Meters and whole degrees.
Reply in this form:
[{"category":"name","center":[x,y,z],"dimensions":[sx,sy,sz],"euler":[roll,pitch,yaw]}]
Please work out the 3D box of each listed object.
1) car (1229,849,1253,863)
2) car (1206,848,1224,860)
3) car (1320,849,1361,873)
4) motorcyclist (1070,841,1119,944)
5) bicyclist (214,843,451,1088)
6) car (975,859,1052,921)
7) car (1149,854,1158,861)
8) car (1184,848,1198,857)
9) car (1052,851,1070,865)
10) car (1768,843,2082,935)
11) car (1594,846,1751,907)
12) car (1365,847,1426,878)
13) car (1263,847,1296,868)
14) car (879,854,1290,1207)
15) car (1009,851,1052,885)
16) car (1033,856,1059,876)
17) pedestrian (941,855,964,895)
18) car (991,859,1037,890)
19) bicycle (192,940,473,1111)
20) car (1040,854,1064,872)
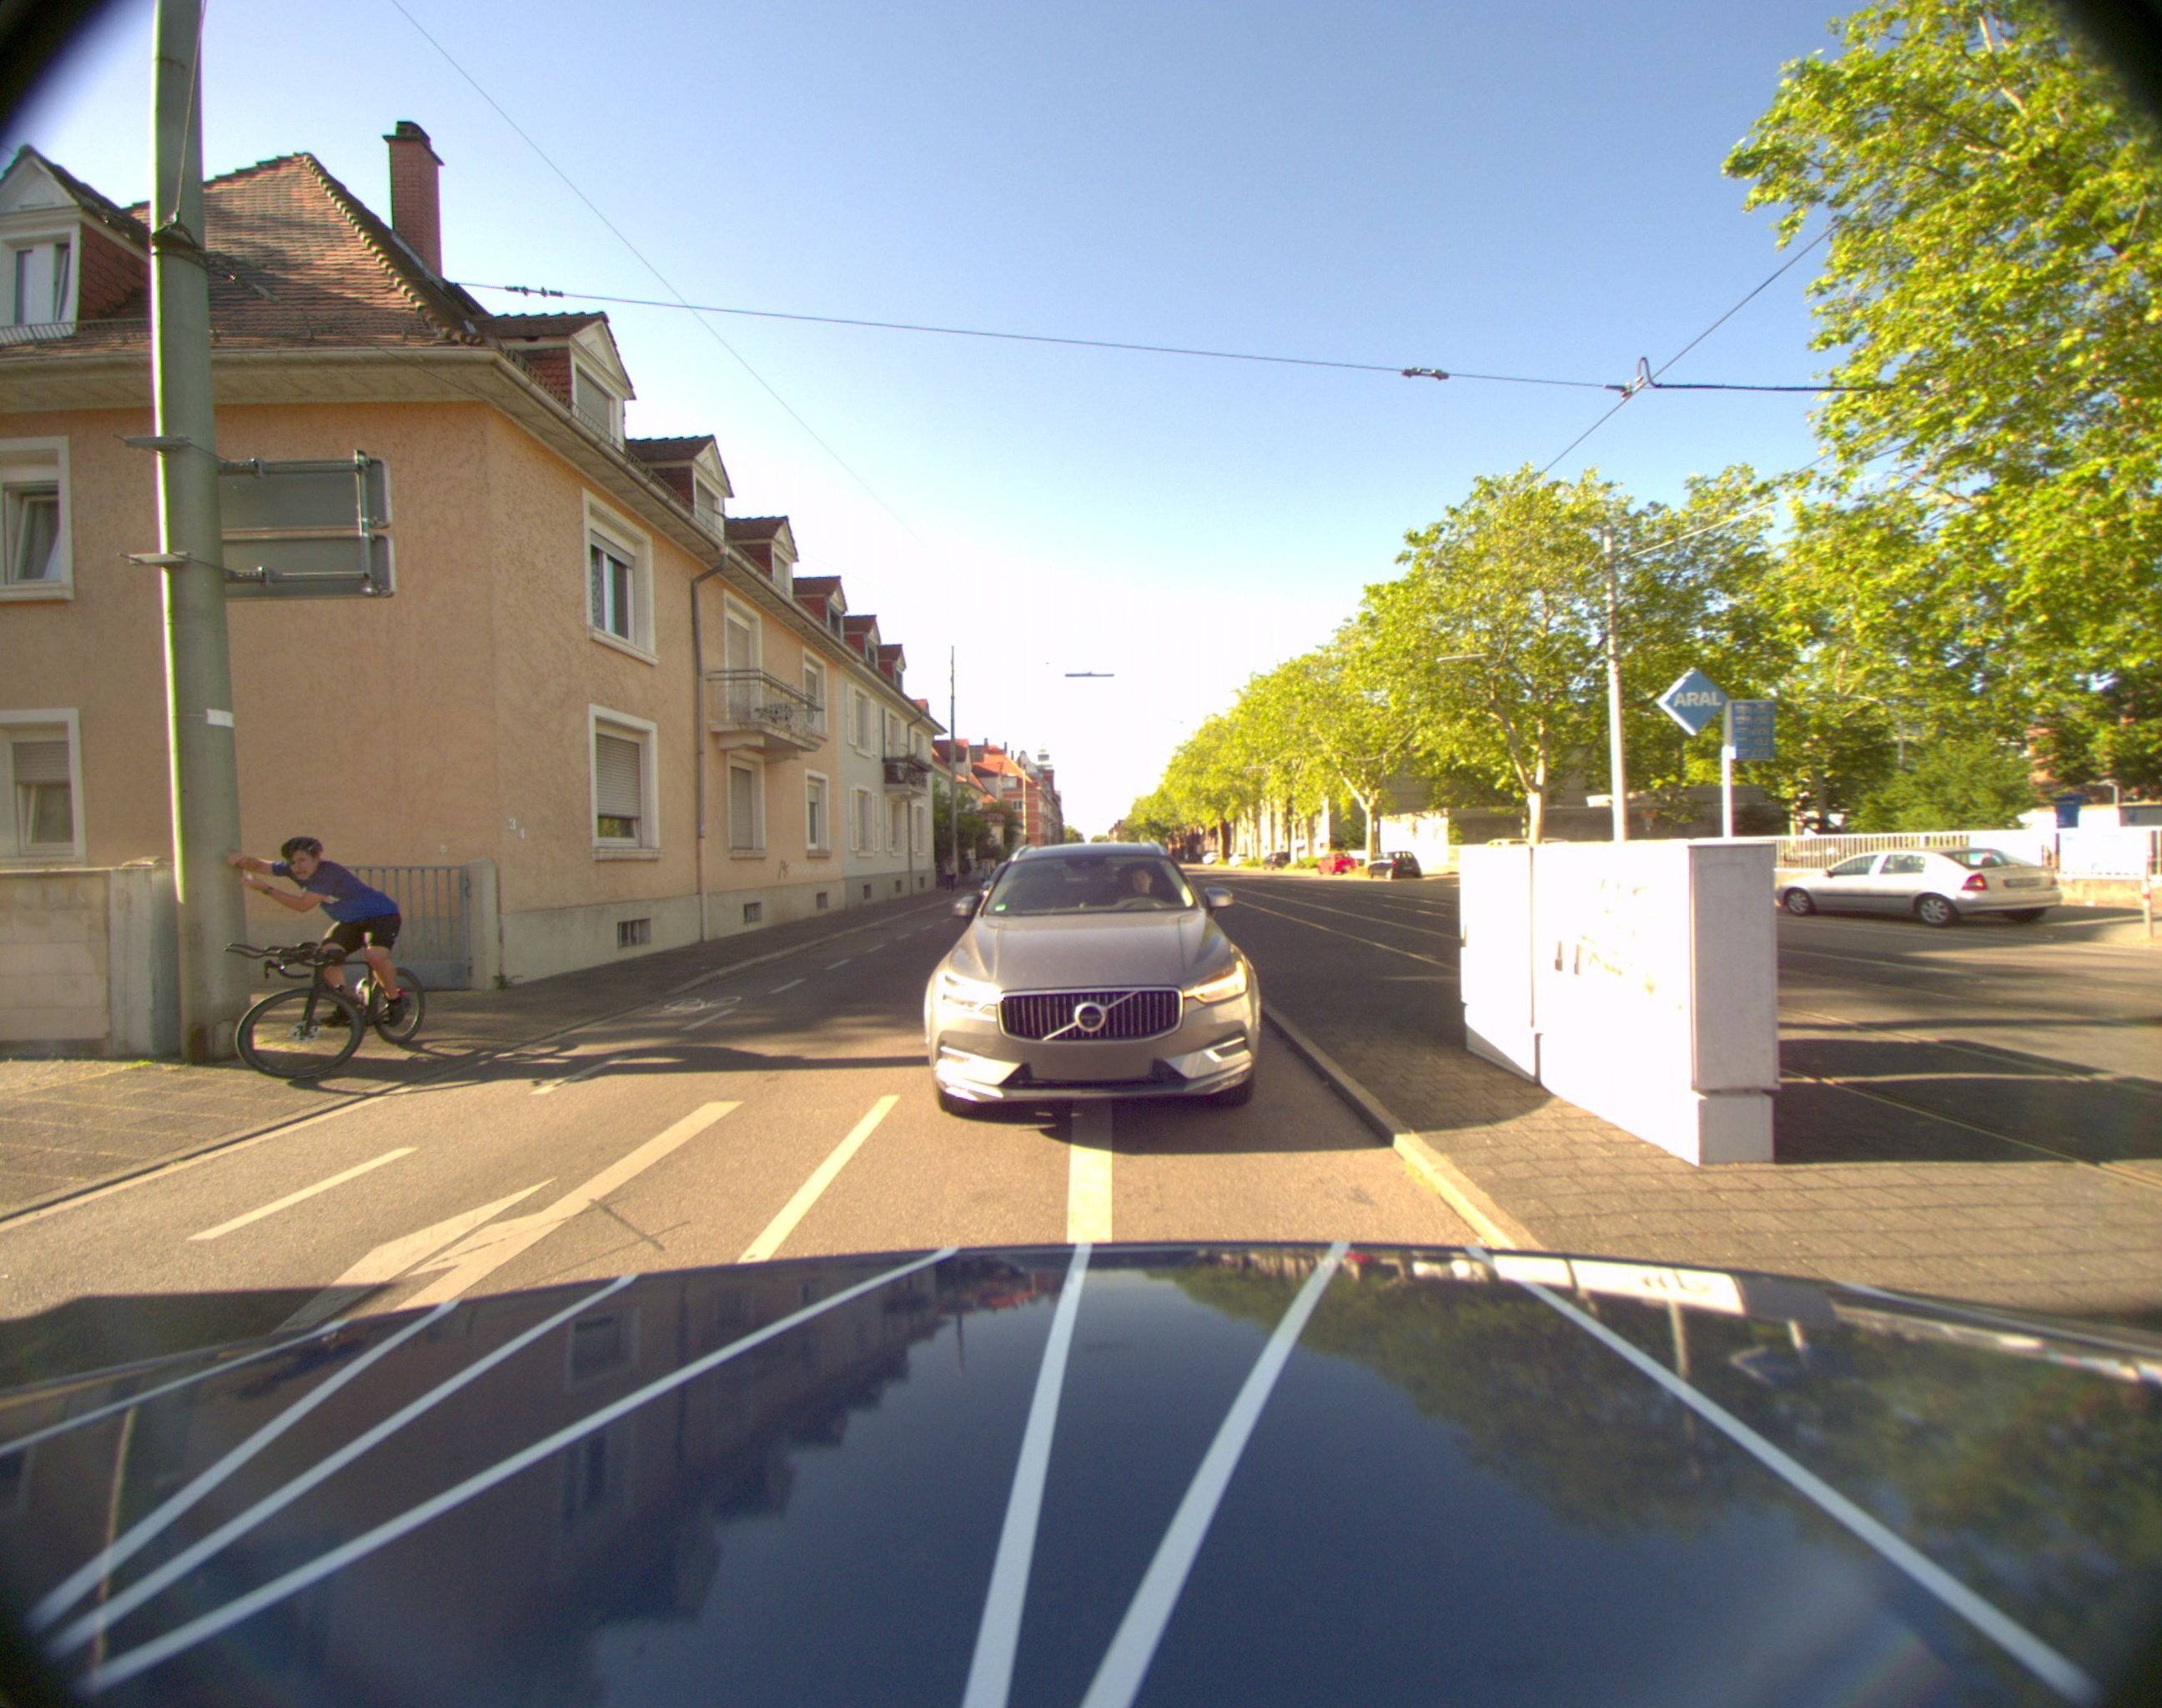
[{"category":"car","center":[17.556,0.220,83.433],"dimensions":[1.802,1.489,4.000],"euler":[-1,0,1]},{"category":"car","center":[17.744,-0.012,100.678],"dimensions":[1.802,1.504,4.000],"euler":[-1,0,1]},{"category":"car","center":[16.951,0.434,49.756],"dimensions":[1.641,1.499,3.046],"euler":[-1,0,1]},{"category":"motorcyclist","center":[0.254,0.689,14.294],"dimensions":[0.827,1.832,1.159],"euler":[-2,1,1]},{"category":"bicyclist","center":[-6.143,0.862,6.298],"dimensions":[1.076,1.854,0.846],"euler":[2,1,1]},{"category":"car","center":[-1.826,0.945,21.753],"dimensions":[1.762,1.513,4.101],"euler":[-1,0,1]},{"category":"car","center":[16.314,0.734,171.183],"dimensions":[1.802,1.504,4.000],"euler":[-1,0,1]},{"category":"car","center":[18.208,-0.222,125.635],"dimensions":[1.802,1.504,4.000],"euler":[-1,0,1]},{"category":"car","center":[-2.194,0.449,85.499],"dimensions":[1.875,1.477,4.000],"euler":[-1,0,1]},{"category":"car","center":[16.250,0.597,14.998],"dimensions":[1.795,1.455,3.966],"euler":[-4,0,2]},{"category":"car","center":[16.437,0.575,21.346],"dimensions":[1.692,1.455,3.519],"euler":[-4,0,2]},{"category":"car","center":[16.889,0.421,40.986],"dimensions":[1.826,1.521,3.653],"euler":[-2,0,1]},{"category":"car","center":[17.204,0.285,66.047],"dimensions":[1.802,1.652,4.000],"euler":[-1,0,1]},{"category":"car","center":[0.046,0.851,5.809],"dimensions":[1.940,1.650,4.321],"euler":[-1,0,1]},{"category":"car","center":[-2.781,0.715,42.893],"dimensions":[1.751,1.767,5.351],"euler":[-1,0,3]},{"category":"car","center":[-2.743,0.944,60.684],"dimensions":[1.785,1.468,4.000],"euler":[-1,0,1]},{"category":"pedestrian","center":[-5.426,0.869,32.188],"dimensions":[0.694,1.652,1.098],"euler":[-2,1,0]},{"category":"car","center":[-3.204,0.964,37.034],"dimensions":[1.647,1.357,3.868],"euler":[-1,0,4]},{"category":"bicycle","center":[-5.938,1.302,6.184],"dimensions":[0.572,0.986,1.698],"euler":[2,0,1]},{"category":"car","center":[-2.553,0.766,66.837],"dimensions":[1.875,1.477,4.000],"euler":[-1,0,1]}]
